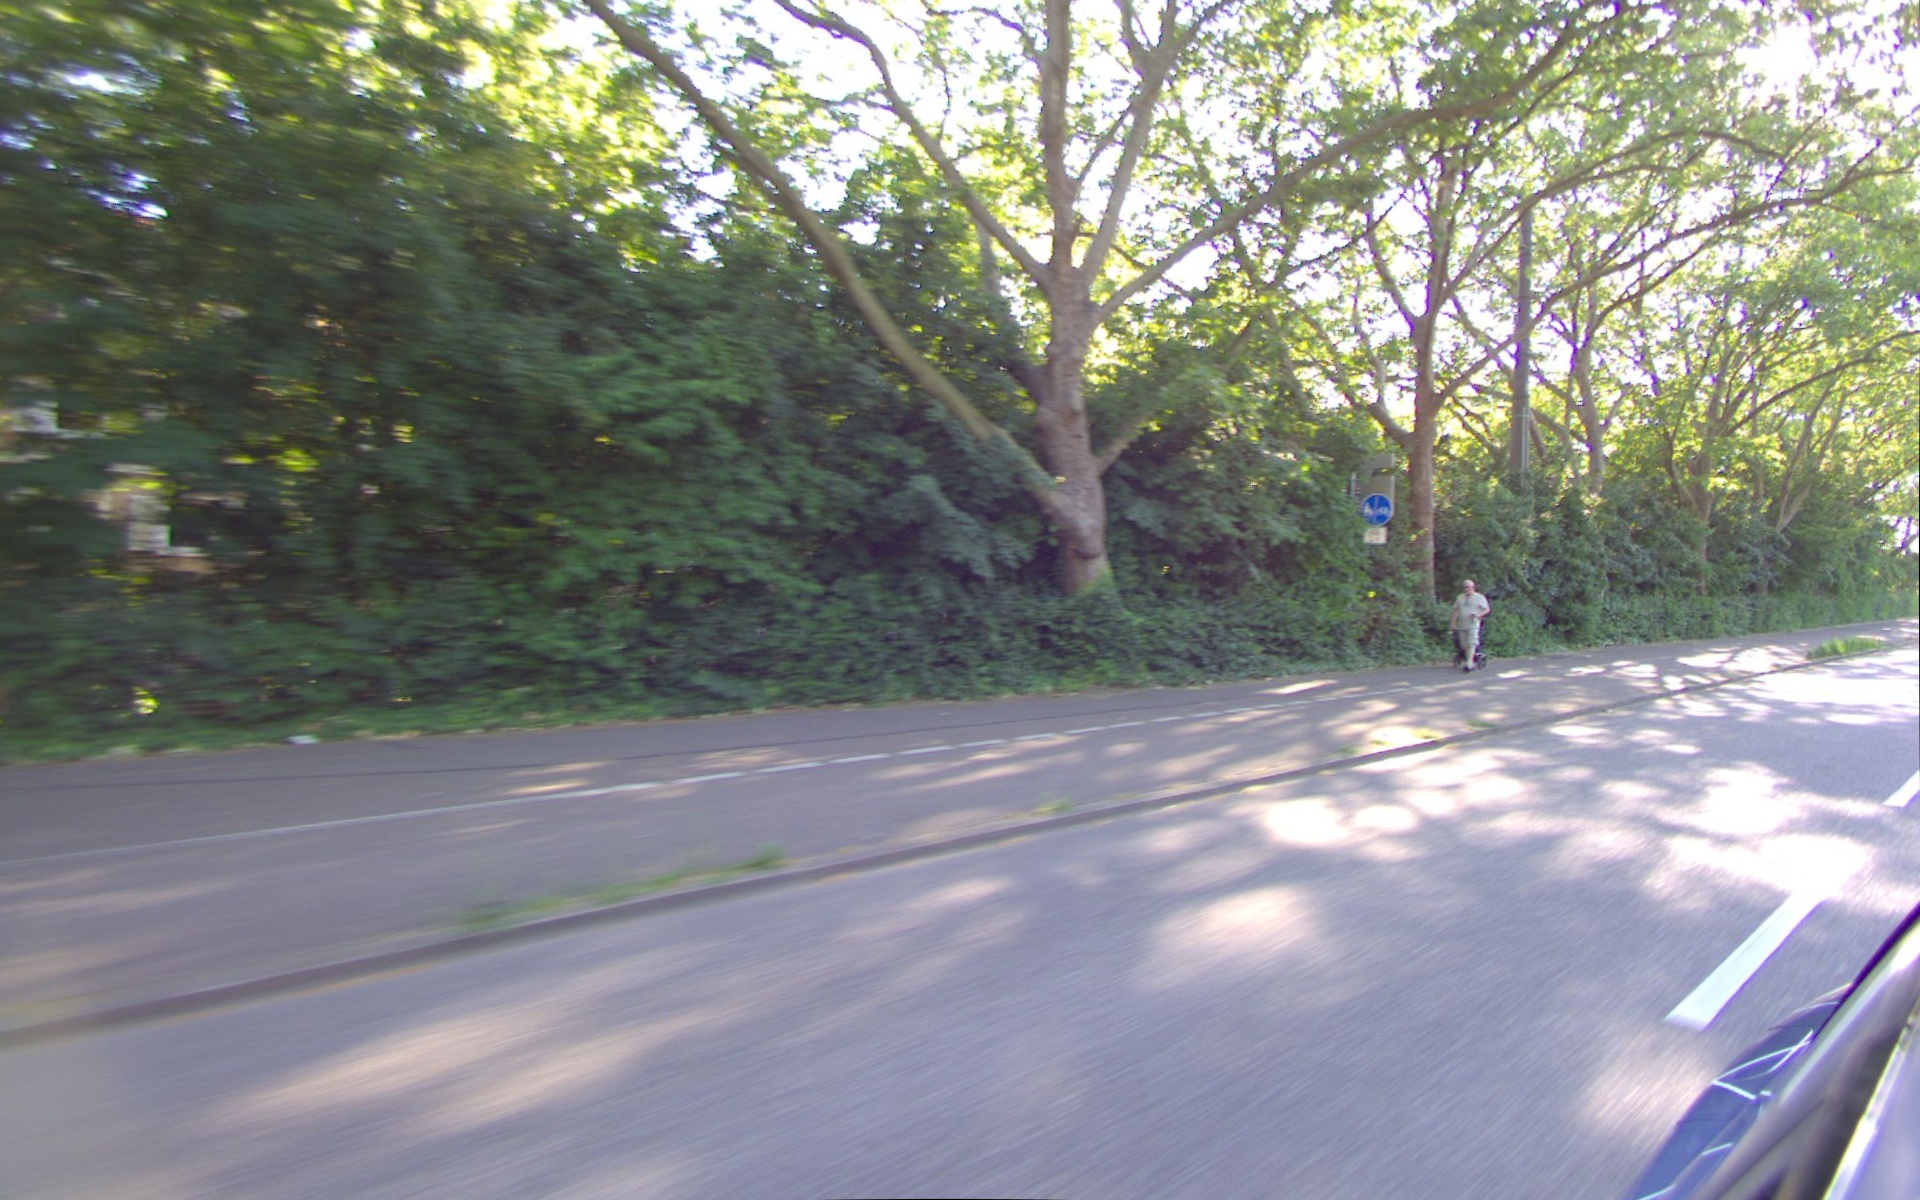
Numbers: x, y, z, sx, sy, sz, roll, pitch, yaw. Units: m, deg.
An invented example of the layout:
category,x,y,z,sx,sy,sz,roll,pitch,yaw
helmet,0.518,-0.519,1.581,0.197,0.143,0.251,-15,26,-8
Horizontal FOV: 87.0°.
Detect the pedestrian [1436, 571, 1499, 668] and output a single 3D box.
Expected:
category,x,y,z,sx,sy,sz,roll,pitch,yaw
pedestrian,9.105,0.333,18.153,0.911,1.655,0.649,0,3,-41
